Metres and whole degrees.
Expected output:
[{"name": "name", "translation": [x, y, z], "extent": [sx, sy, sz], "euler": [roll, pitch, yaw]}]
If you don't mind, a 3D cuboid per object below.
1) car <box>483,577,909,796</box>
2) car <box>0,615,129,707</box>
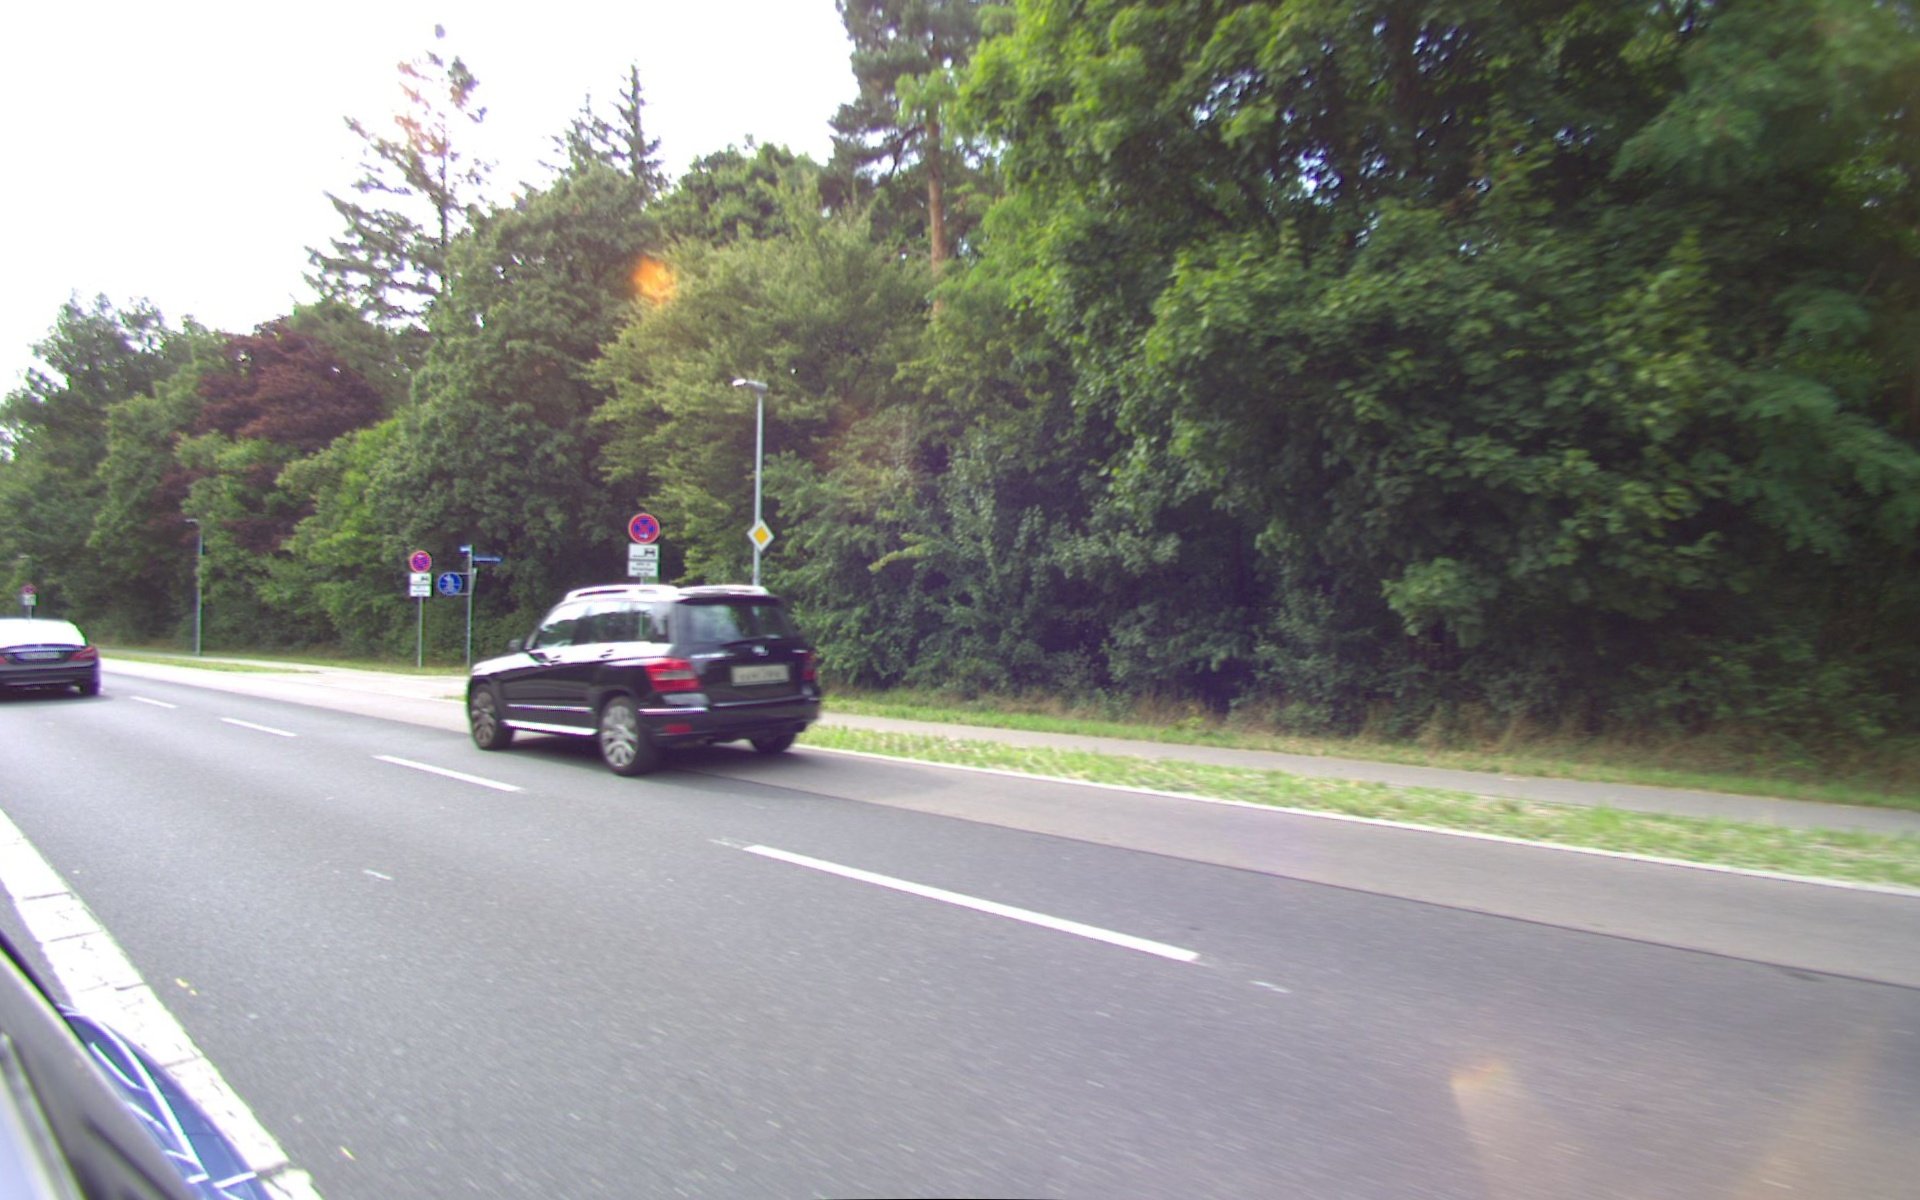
[{"name": "car", "translation": [-2.757, 0.730, 9.920], "extent": [4.468, 1.668, 1.903], "euler": [-2, -2, 42]}, {"name": "car", "translation": [-17.118, 1.037, 18.771], "extent": [4.720, 1.446, 1.972], "euler": [0, 0, 42]}]
